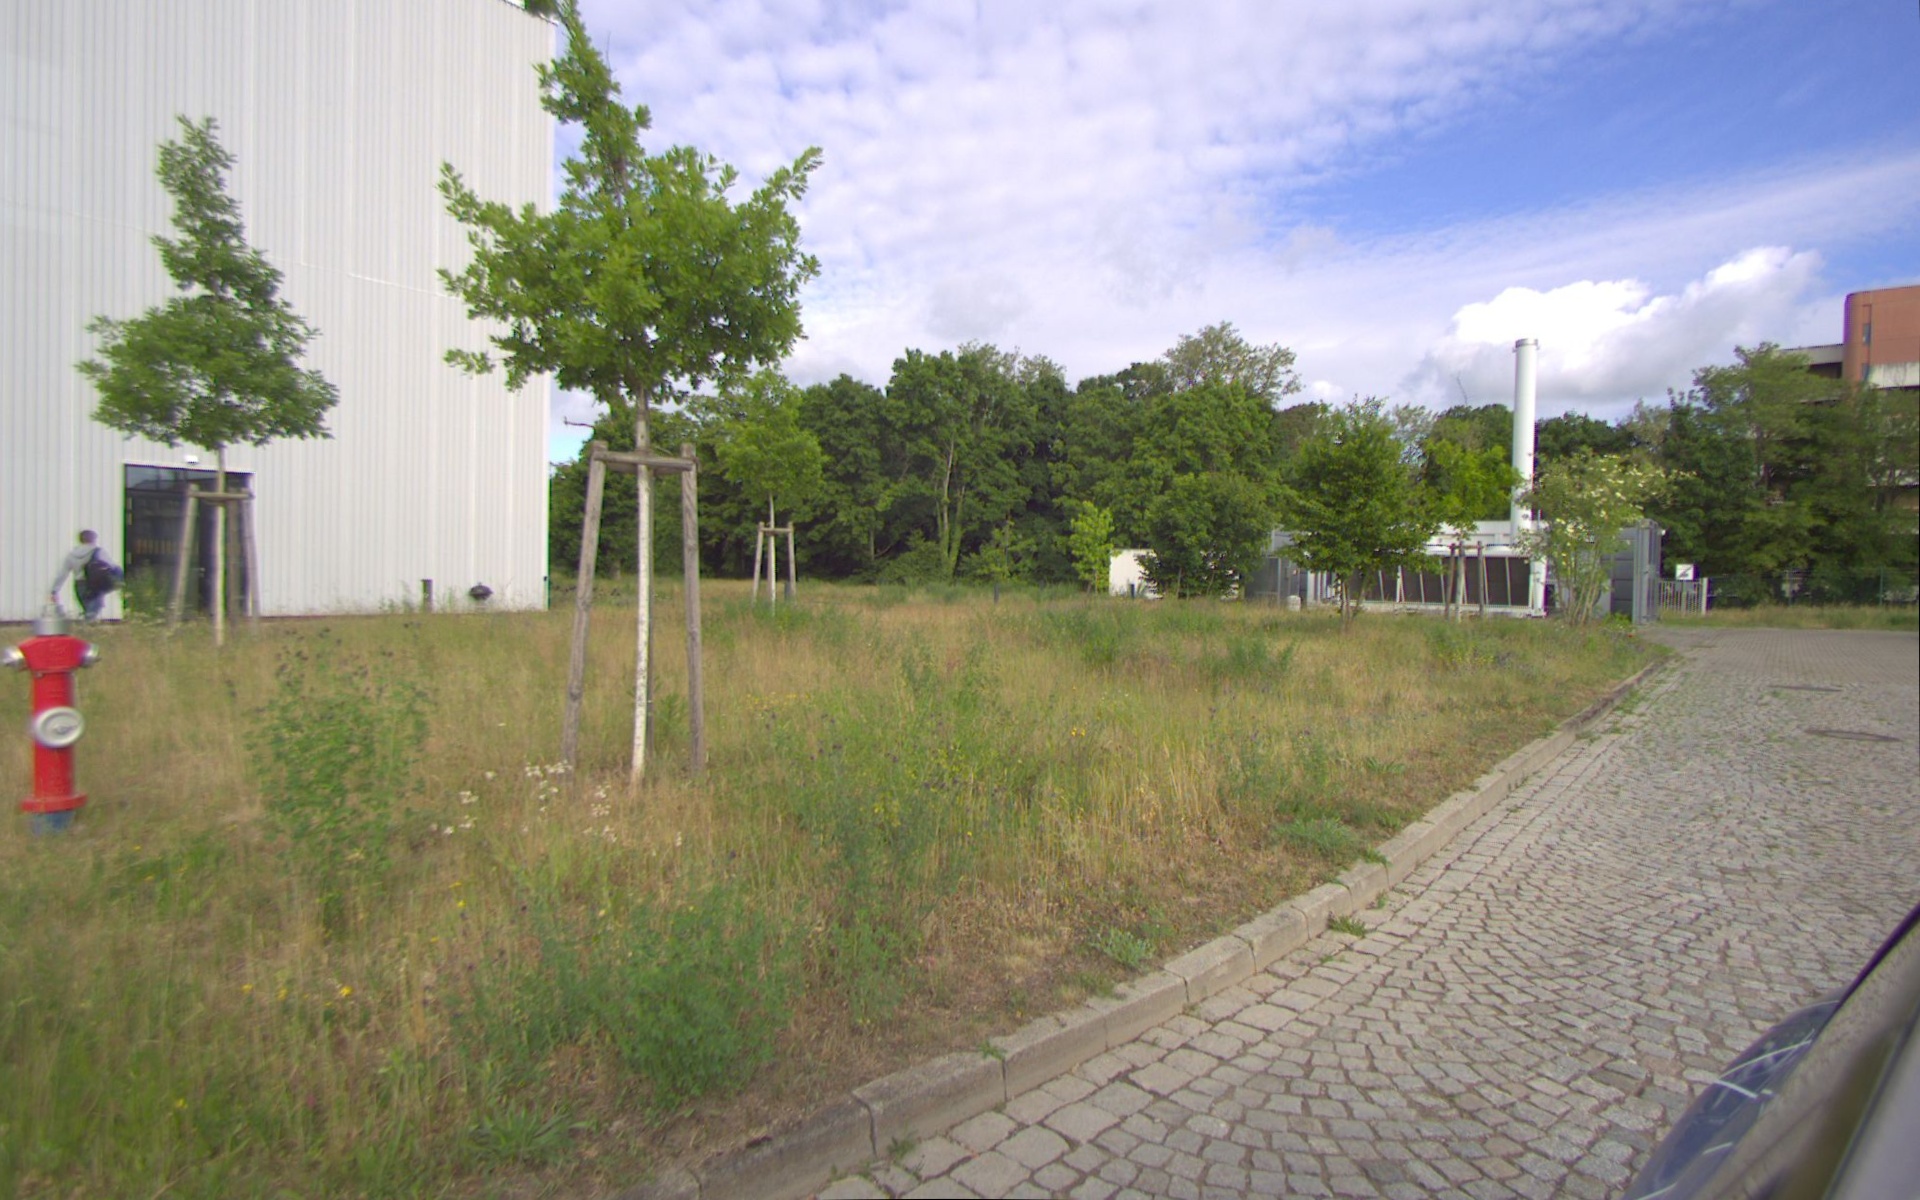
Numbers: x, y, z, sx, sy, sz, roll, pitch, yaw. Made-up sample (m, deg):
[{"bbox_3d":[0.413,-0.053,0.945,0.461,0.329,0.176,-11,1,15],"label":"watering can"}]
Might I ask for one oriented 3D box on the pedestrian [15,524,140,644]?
[{"bbox_3d":[-12.237,-0.231,14.083,1.053,1.575,1.081,0,2,-26],"label":"pedestrian"}]
